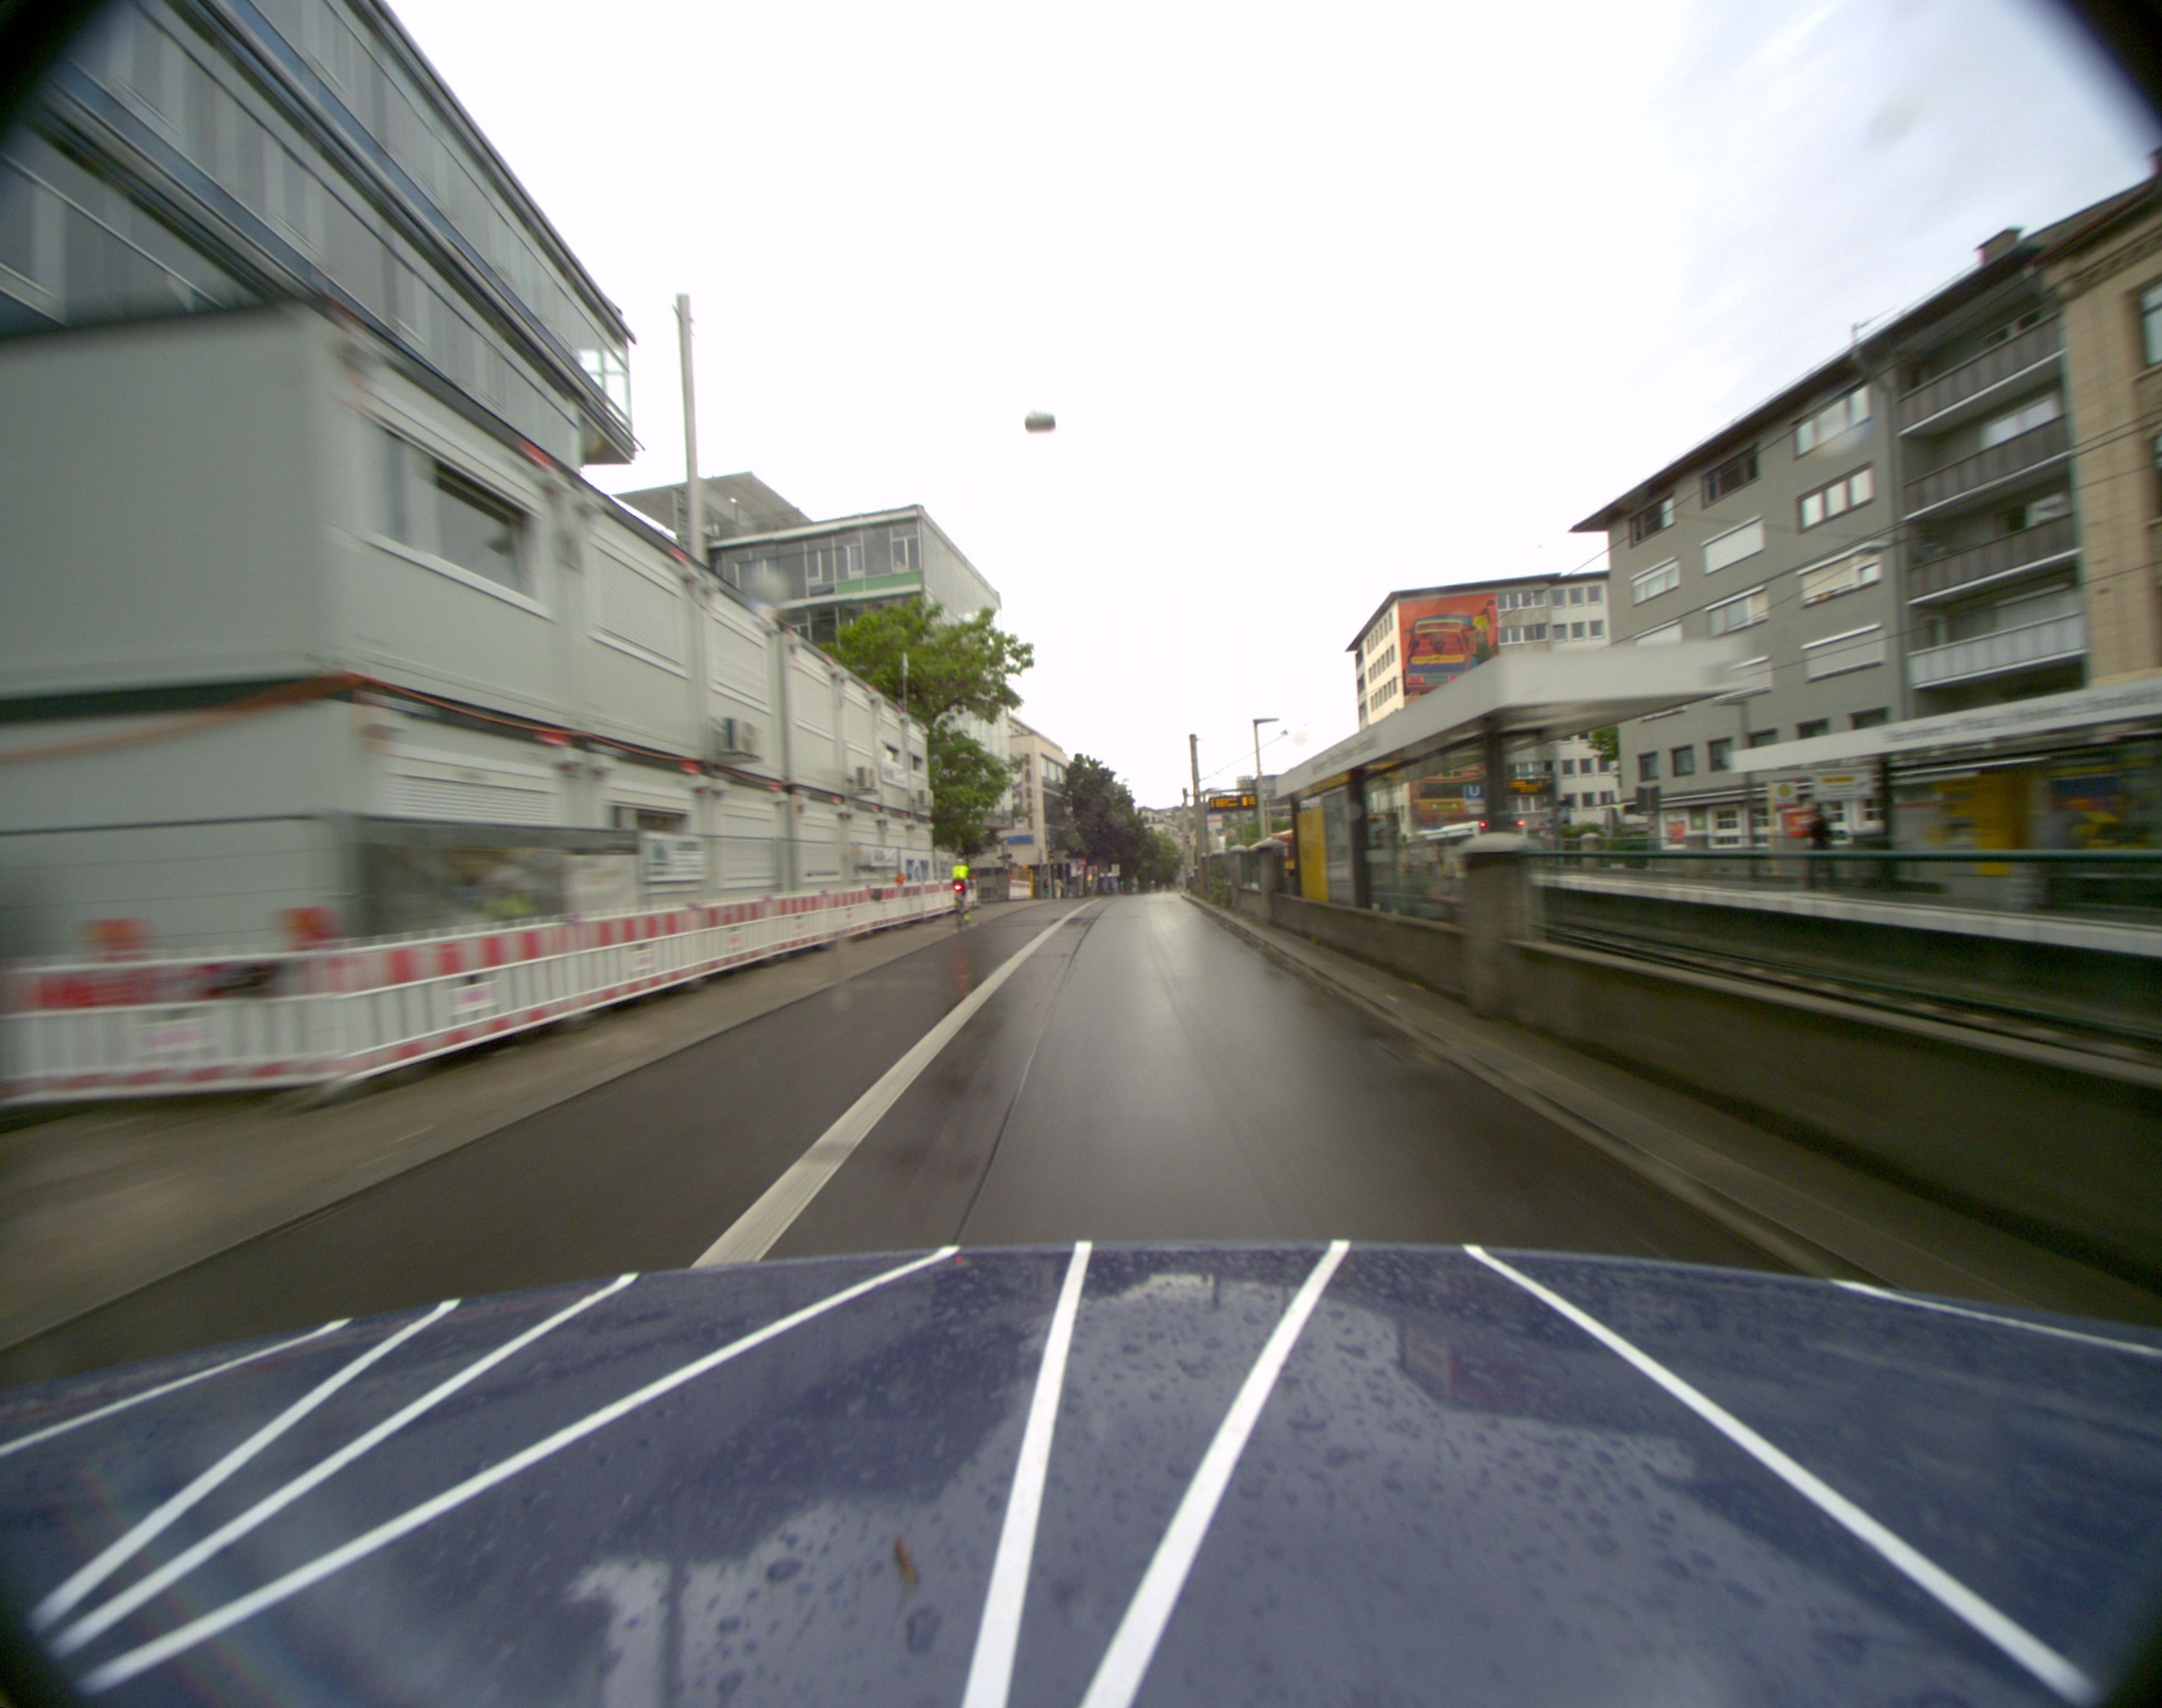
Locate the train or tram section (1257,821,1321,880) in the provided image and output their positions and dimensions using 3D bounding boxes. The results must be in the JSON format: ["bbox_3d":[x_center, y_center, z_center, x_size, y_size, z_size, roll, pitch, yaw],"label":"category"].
[{"bbox_3d":[14.837,-0.092,54.947,2.784,3.669,9.518,-4,-2,6],"label":"train or tram section"}]

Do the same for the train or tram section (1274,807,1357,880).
[{"bbox_3d":[13.771,-0.411,45.478,2.784,3.669,9.518,-4,-2,6],"label":"train or tram section"}]

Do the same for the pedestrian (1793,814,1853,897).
[{"bbox_3d":[14.153,0.031,14.504,0.559,1.528,0.517,-3,0,4],"label":"pedestrian"}]

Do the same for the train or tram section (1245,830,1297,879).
[{"bbox_3d":[15.894,0.181,64.144,2.784,3.669,8.982,-4,-2,6],"label":"train or tram section"}]

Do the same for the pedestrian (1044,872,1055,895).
[{"bbox_3d":[-2.373,2.214,57.109,0.599,1.751,0.846,-3,-1,5],"label":"pedestrian"}]

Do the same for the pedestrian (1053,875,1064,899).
[{"bbox_3d":[-1.688,2.480,56.547,0.720,1.751,0.959,-3,-1,-1],"label":"pedestrian"}]

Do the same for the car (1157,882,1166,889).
[{"bbox_3d":[17.362,6.798,163.669,1.619,1.454,3.592,-4,-4,8],"label":"car"}]

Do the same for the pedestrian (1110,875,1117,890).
[{"bbox_3d":[3.683,3.194,85.971,0.559,1.613,0.485,-4,-3,9],"label":"pedestrian"}]

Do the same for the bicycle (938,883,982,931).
[{"bbox_3d":[-3.084,1.338,19.567,0.663,1.047,2.057,0,1,4],"label":"bicycle"}]

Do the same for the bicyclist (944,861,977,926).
[{"bbox_3d":[-3.086,0.997,19.516,0.663,1.629,0.793,1,1,4],"label":"bicyclist"}]

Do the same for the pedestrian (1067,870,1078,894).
[{"bbox_3d":[-0.636,2.137,57.164,0.720,1.751,0.959,-3,-1,-1],"label":"pedestrian"}]

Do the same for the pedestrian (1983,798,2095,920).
[{"bbox_3d":[13.628,0.072,10.831,0.634,1.650,0.683,-3,0,7],"label":"pedestrian"}]

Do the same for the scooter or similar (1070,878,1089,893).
[{"bbox_3d":[-0.132,2.700,64.261,1.385,1.172,0.511,-3,-1,-23],"label":"scooter or similar"}]

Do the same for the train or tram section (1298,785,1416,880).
[{"bbox_3d":[12.661,-0.723,35.908,2.784,3.669,9.722,-4,-2,6],"label":"train or tram section"}]
